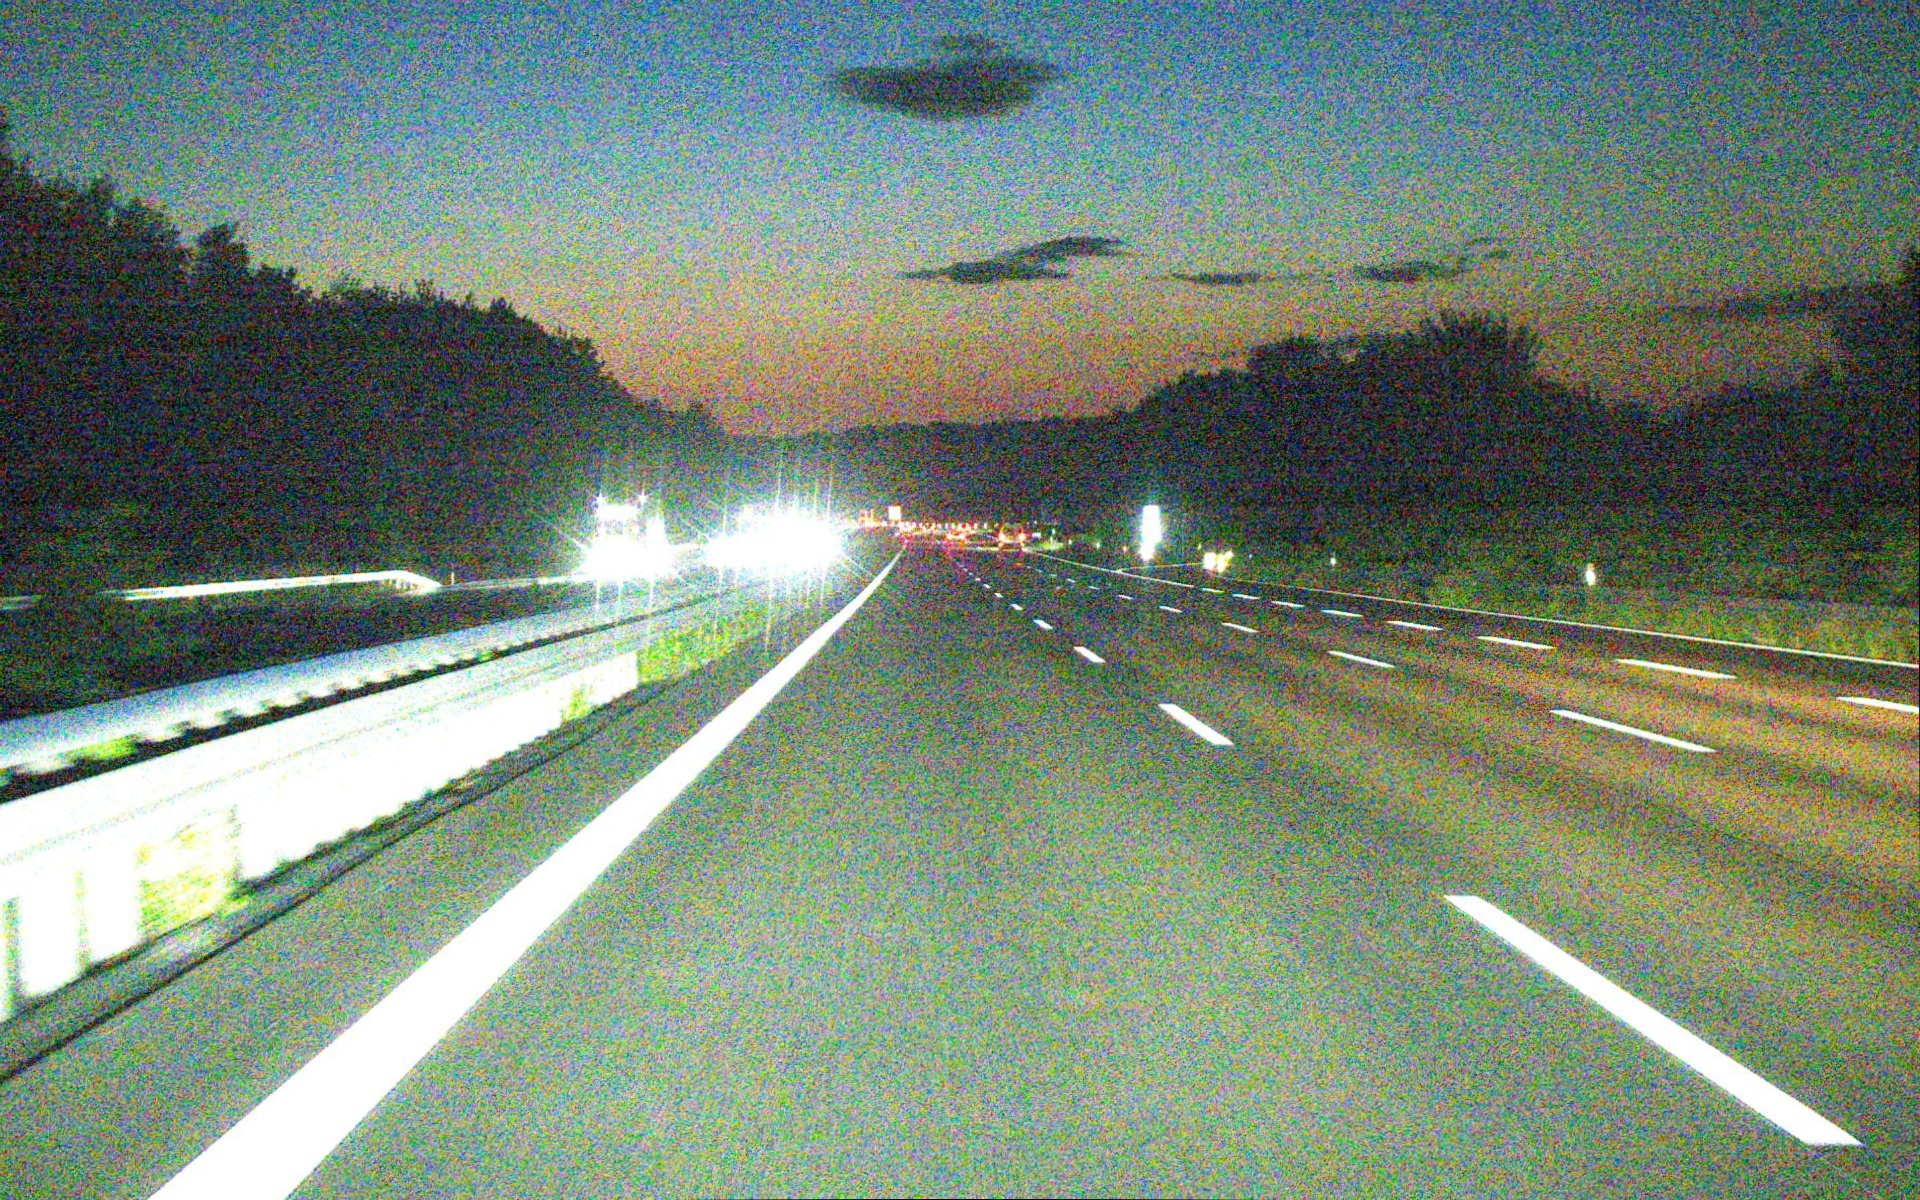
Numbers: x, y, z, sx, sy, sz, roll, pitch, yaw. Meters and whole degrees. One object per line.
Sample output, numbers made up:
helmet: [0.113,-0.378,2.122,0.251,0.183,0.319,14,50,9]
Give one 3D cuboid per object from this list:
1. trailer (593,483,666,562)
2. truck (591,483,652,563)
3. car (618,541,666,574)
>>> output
trailer: [-18.400,-4.276,192.348,2.860,4.161,13.906,-2,1,-1]
truck: [-18.226,-4.126,185.412,2.753,4.197,5.827,-2,1,-1]
car: [-14.539,-1.942,157.505,1.993,1.456,4.693,-2,1,-3]
